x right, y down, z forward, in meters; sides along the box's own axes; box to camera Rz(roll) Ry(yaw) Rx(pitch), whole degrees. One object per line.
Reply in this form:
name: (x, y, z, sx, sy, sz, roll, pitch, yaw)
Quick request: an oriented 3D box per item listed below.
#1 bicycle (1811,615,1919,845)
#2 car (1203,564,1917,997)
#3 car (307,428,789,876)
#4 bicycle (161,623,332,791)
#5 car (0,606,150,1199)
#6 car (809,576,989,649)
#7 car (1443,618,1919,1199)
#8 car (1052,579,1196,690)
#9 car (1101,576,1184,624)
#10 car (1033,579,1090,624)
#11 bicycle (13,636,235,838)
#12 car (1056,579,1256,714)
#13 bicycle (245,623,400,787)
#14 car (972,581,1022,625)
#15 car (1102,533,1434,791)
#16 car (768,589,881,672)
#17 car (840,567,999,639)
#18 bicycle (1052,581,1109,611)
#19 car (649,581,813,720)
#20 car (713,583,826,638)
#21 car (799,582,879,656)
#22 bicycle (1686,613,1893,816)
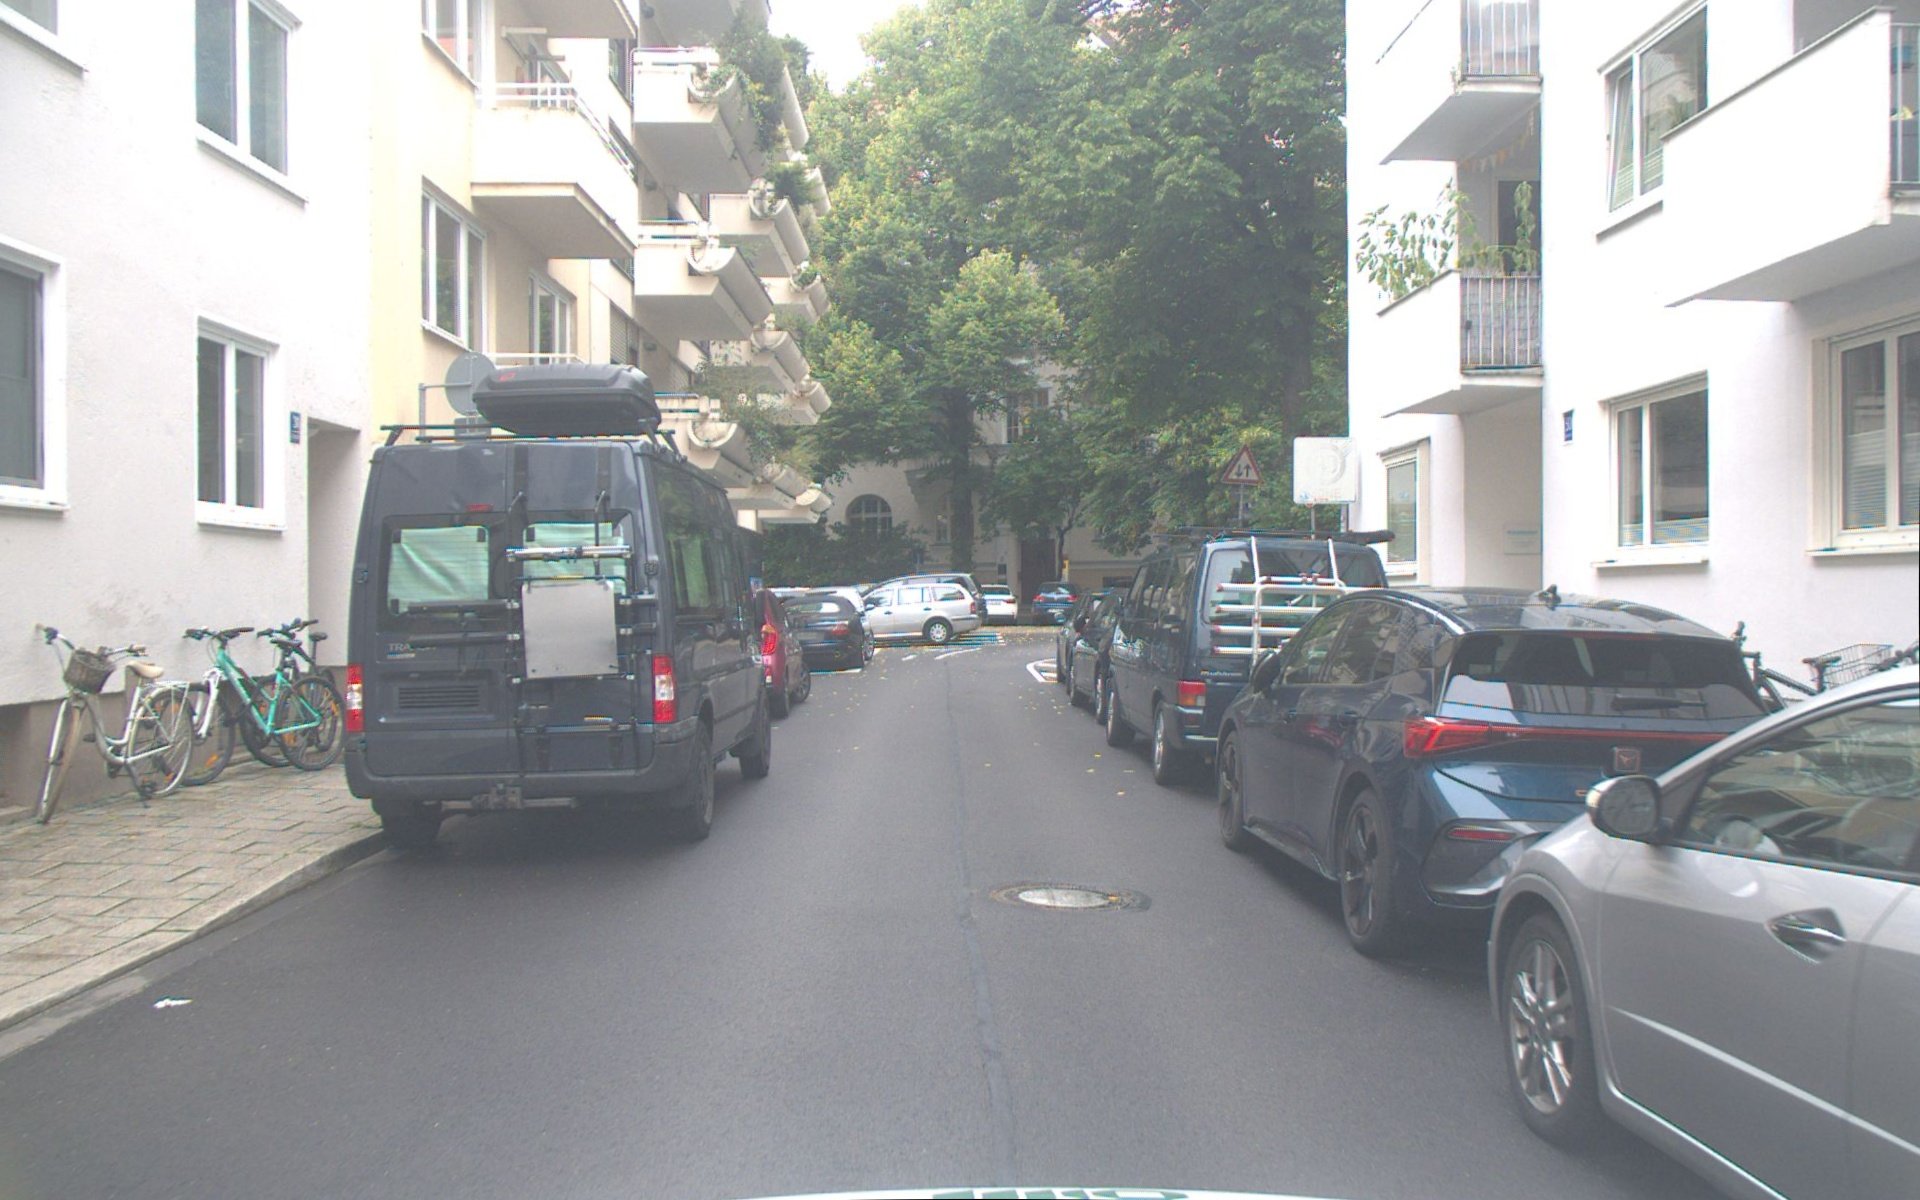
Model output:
bicycle: (5.243, 0.681, 8.826, 0.559, 1.171, 1.562, 0, 1, -2)
car: (2.578, 0.663, 8.461, 1.867, 1.581, 4.624, -1, 0, -2)
car: (-2.483, 0.268, 11.546, 1.977, 2.318, 5.390, -2, 0, -1)
bicycle: (-5.281, 0.753, 12.353, 0.453, 1.117, 1.870, 0, 0, 0)
car: (-2.398, 0.793, 1.343, 1.578, 1.471, 3.743, -3, 0, 0)
car: (-1.450, 0.276, 39.692, 4.143, 1.480, 1.721, -3, 1, -2)
car: (2.587, 0.826, 3.377, 1.724, 1.456, 4.259, 2, 0, -3)
car: (2.329, 0.453, 24.339, 1.707, 1.466, 4.000, -1, 0, 0)
car: (6.165, -0.026, 55.421, 1.801, 1.557, 4.025, 0, 0, 21)
car: (3.462, 0.017, 55.880, 1.753, 1.456, 4.003, 0, 1, 6)
bicycle: (-5.239, 0.813, 10.487, 0.453, 1.117, 1.870, 0, 0, 0)
car: (2.258, 0.489, 20.064, 1.796, 1.444, 4.057, -1, 0, -2)
bicycle: (-4.828, 0.756, 12.637, 0.453, 1.117, 1.870, 0, 0, 0)
car: (1.280, 0.064, 56.984, 1.683, 1.456, 4.001, 0, 1, 1)
car: (2.412, 0.435, 14.223, 1.836, 1.822, 4.780, -1, 0, -2)
car: (-2.431, 0.506, 30.550, 1.760, 1.300, 4.616, -2, 1, -1)
car: (-1.112, 0.065, 44.950, 4.136, 1.713, 1.901, -3, 1, -3)
bicycle: (4.704, -0.168, 64.871, 2.186, 1.135, 0.576, 0, 1, 28)
car: (-2.712, 0.547, 20.239, 1.587, 1.522, 3.707, -1, 0, -2)
car: (-5.911, 0.313, 51.361, 3.240, 1.659, 1.501, 0, 0, -21)
car: (-2.589, 0.369, 36.004, 1.529, 1.446, 3.832, -2, 1, -2)
bicycle: (5.209, 0.682, 10.476, 0.559, 1.171, 1.430, 0, 1, -2)
